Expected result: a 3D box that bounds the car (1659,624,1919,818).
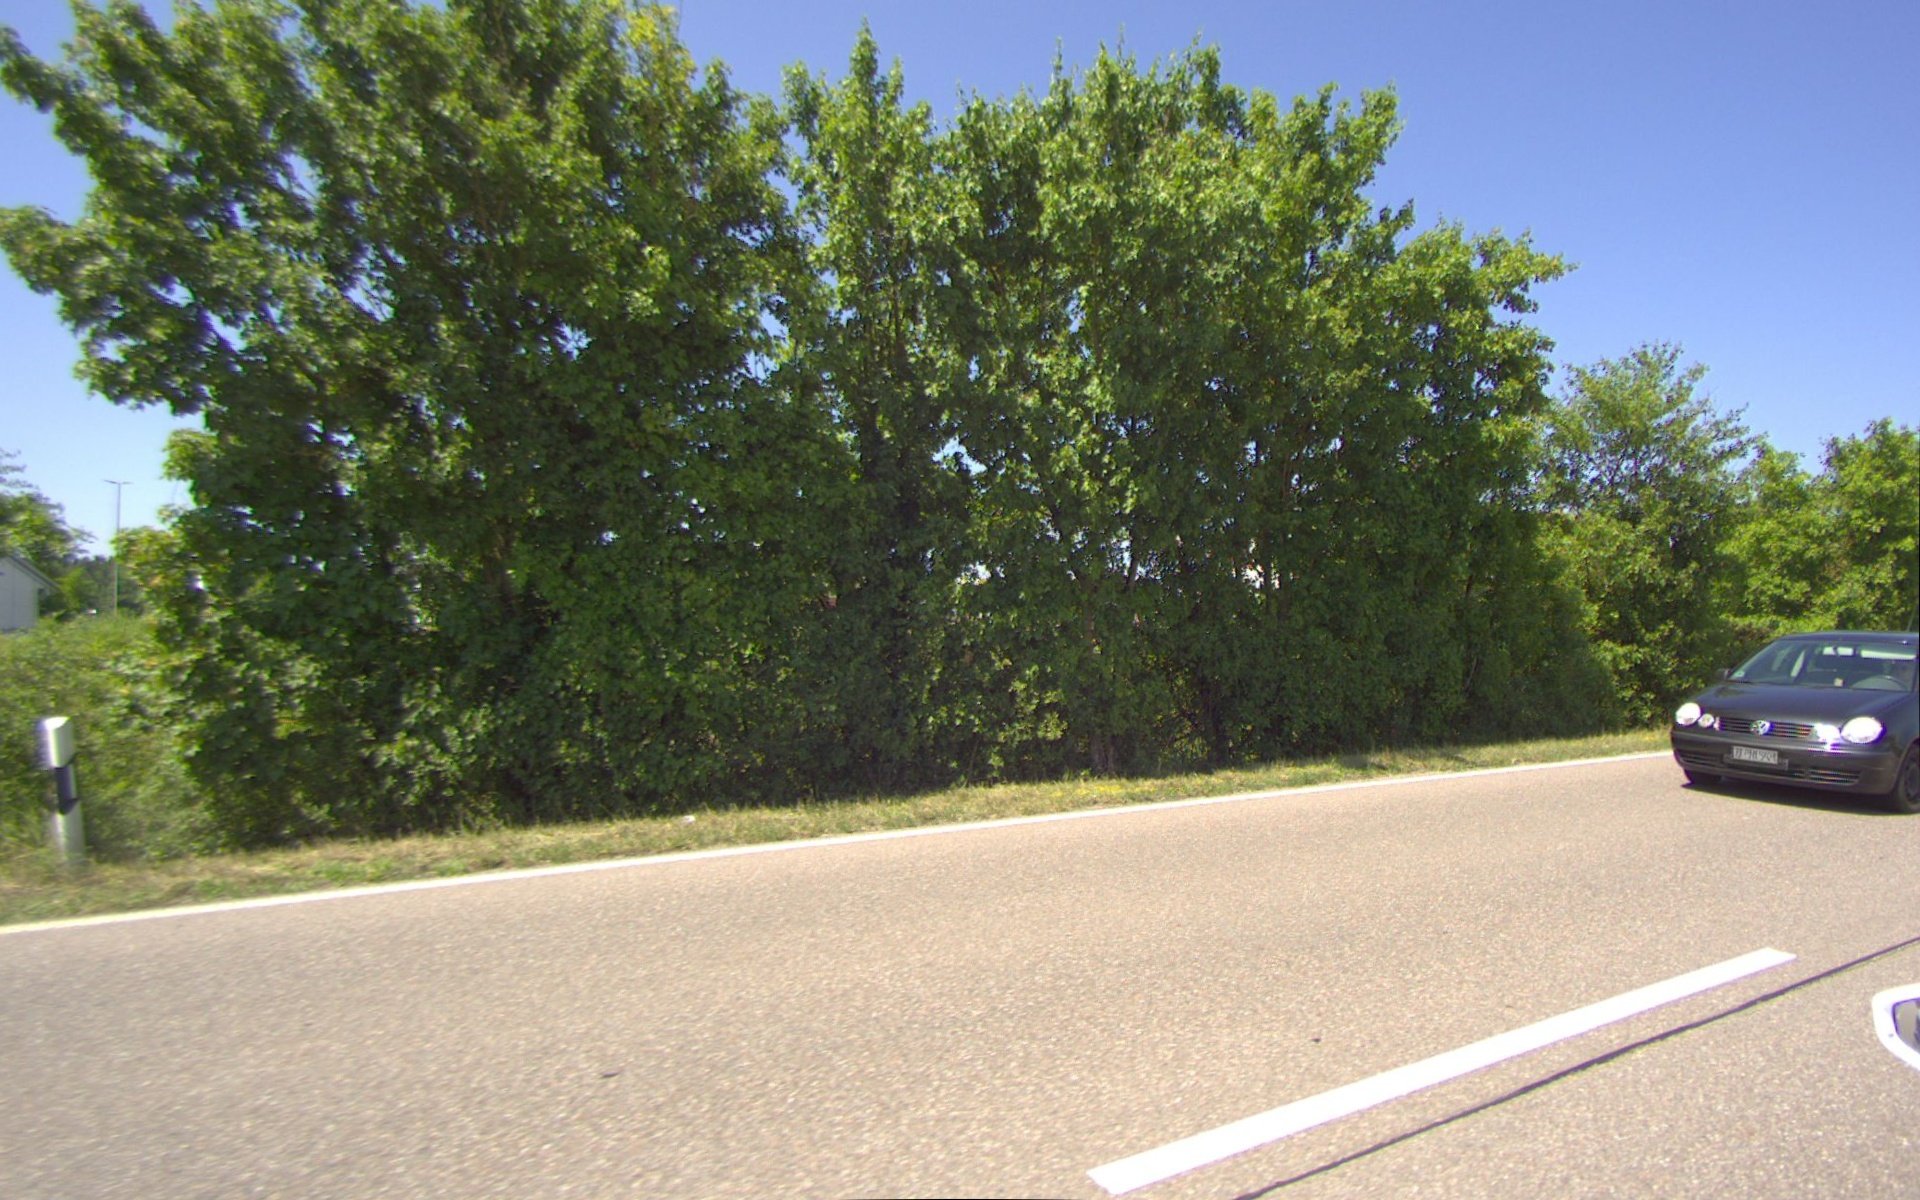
[{"bbox_3d":[8.415,0.990,9.384,3.953,1.461,1.590,2,-1,-30],"label":"car"}]
